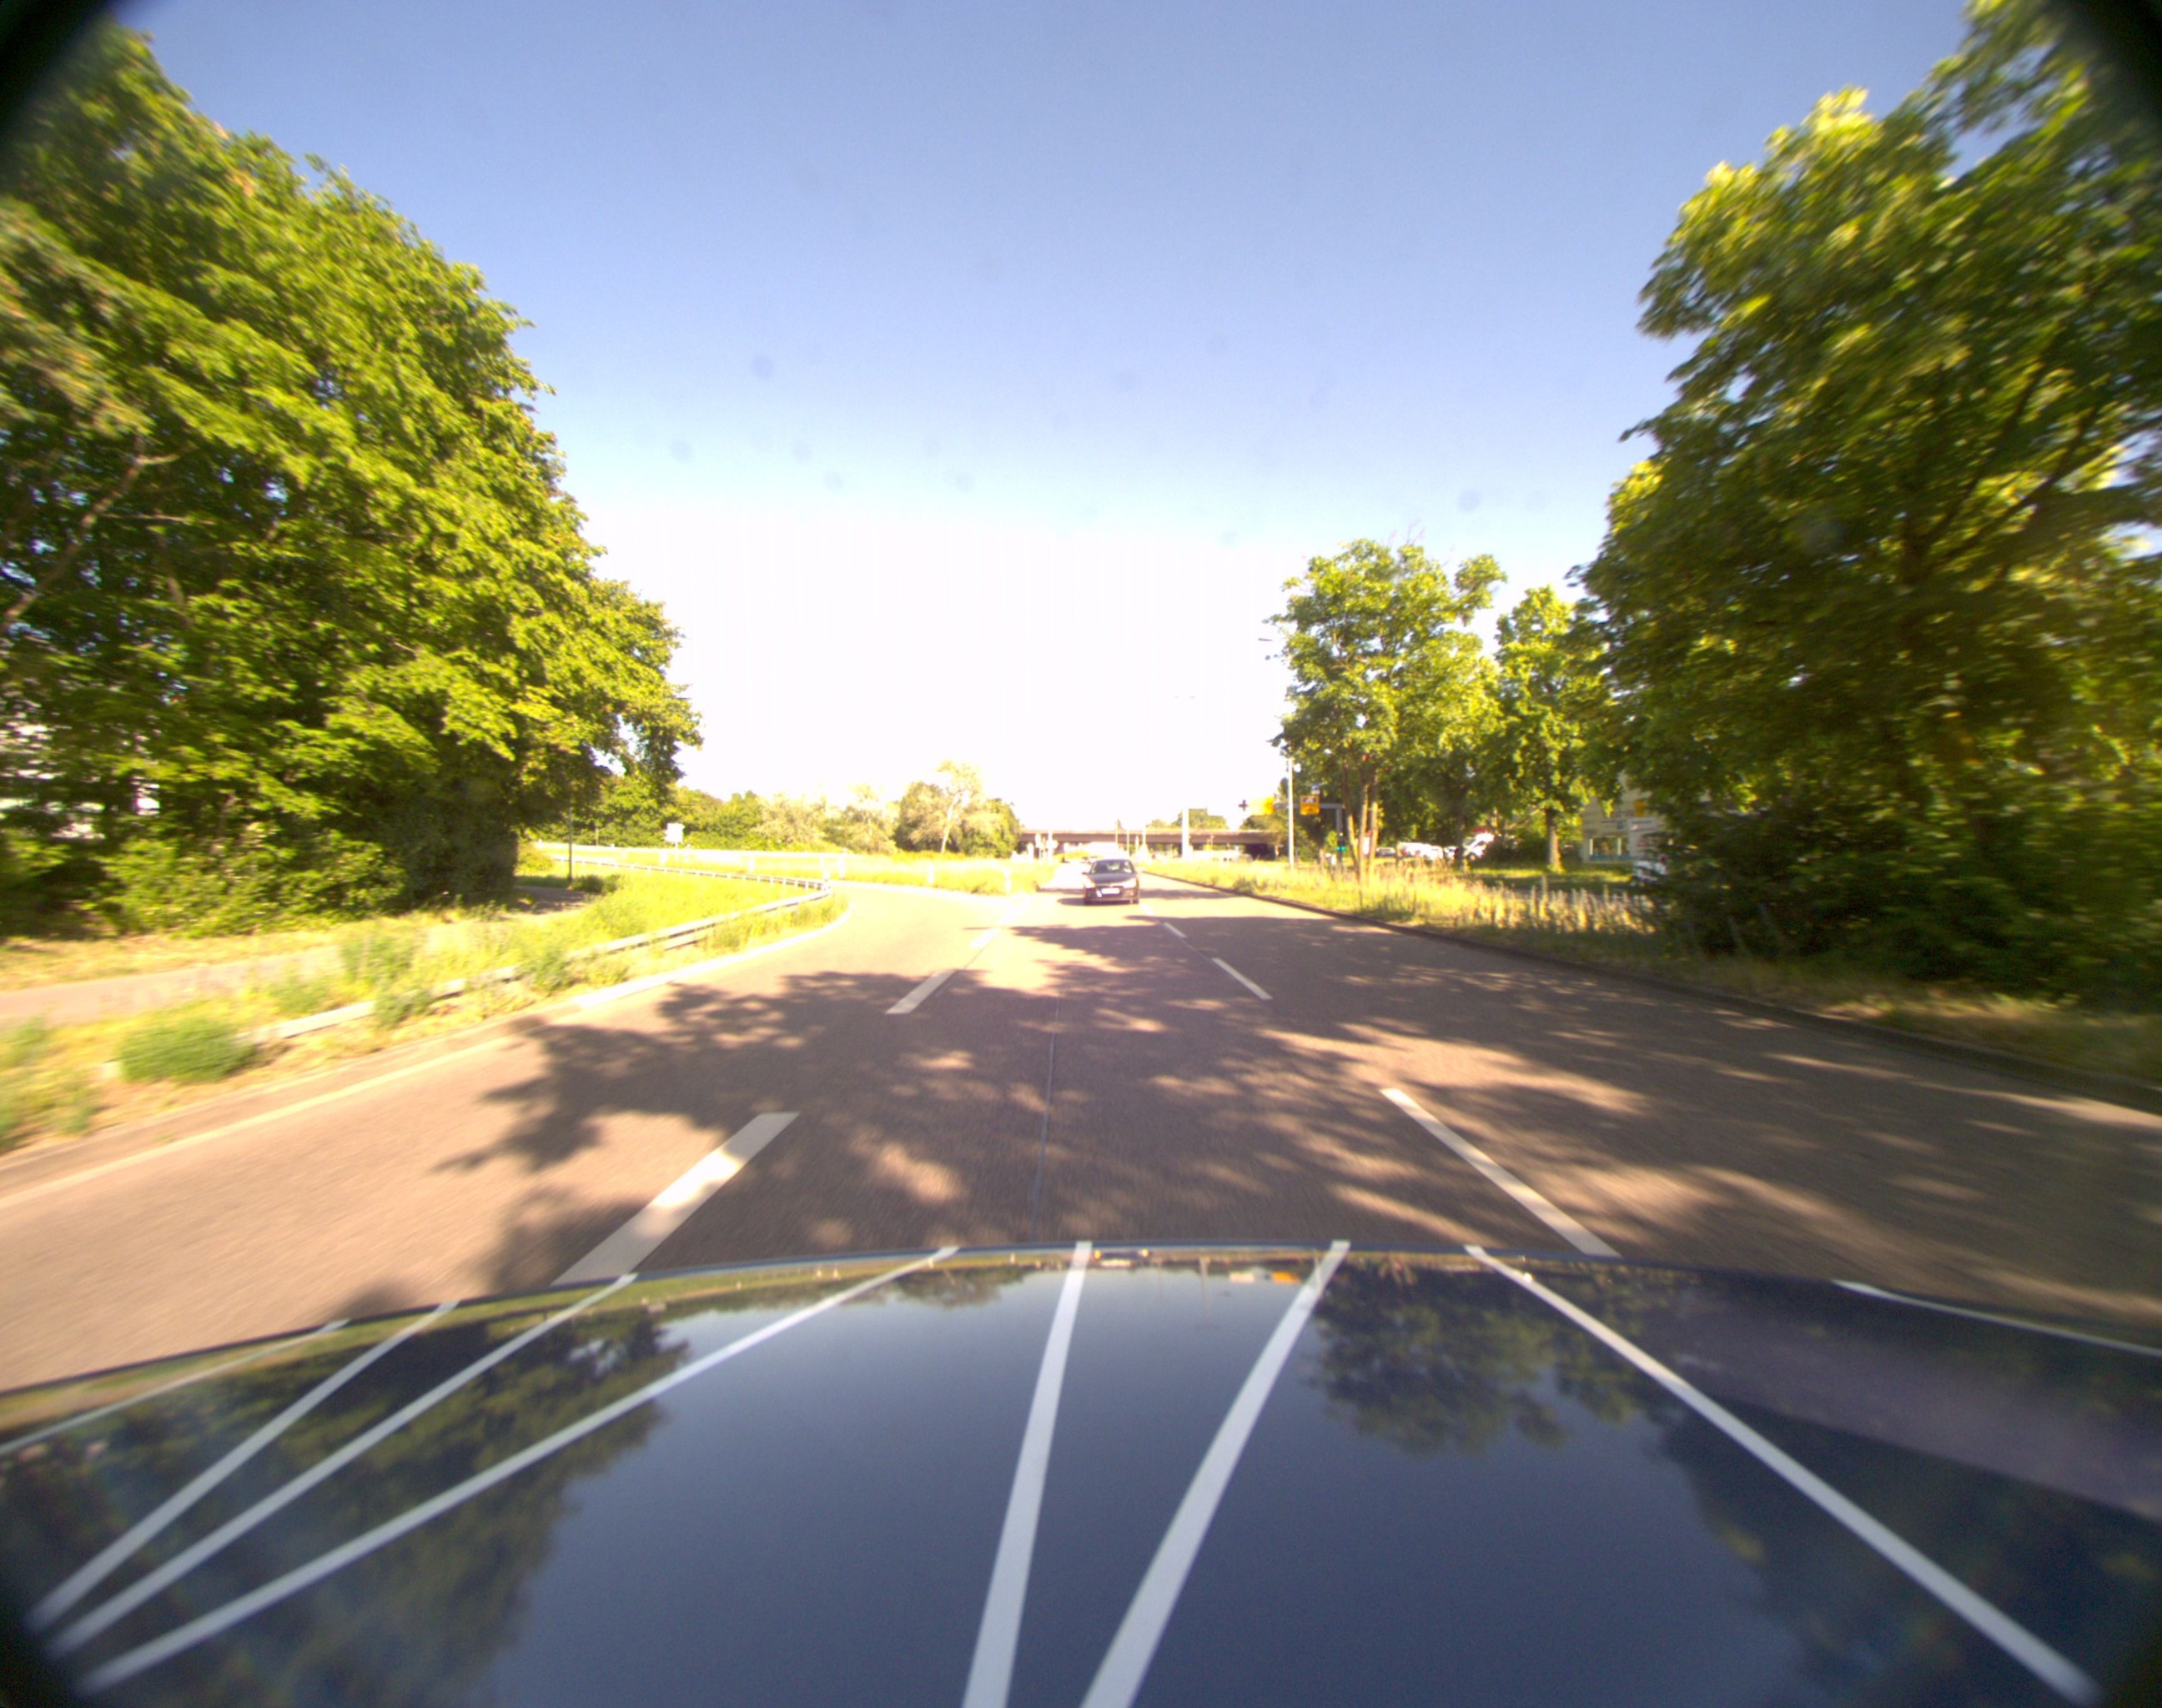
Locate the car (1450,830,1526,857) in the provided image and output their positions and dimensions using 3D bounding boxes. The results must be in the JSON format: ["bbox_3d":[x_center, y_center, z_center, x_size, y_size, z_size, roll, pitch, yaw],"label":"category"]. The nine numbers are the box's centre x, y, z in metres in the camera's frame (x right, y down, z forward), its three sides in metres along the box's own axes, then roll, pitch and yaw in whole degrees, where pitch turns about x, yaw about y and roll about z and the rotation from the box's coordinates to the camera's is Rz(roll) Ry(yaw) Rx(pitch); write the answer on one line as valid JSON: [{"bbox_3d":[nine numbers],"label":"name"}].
[{"bbox_3d":[37.523,-0.961,70.147,5.894,2.419,2.206,0,0,-4],"label":"car"}]

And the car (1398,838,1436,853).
[{"bbox_3d":[49.702,-1.215,112.478,1.899,2.139,5.034,0,0,-32],"label":"car"}]

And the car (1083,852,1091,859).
[{"bbox_3d":[1.355,0.403,165.737,1.627,1.428,3.279,-1,0,3],"label":"car"}]

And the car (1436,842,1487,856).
[{"bbox_3d":[37.698,-0.500,75.361,4.130,1.380,1.946,0,0,-4],"label":"car"}]

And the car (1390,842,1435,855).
[{"bbox_3d":[37.191,-0.634,85.281,4.129,1.380,1.946,0,0,-1],"label":"car"}]

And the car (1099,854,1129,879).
[{"bbox_3d":[2.143,0.801,50.428,1.827,1.528,4.041,-1,0,0],"label":"car"}]

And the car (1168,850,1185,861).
[{"bbox_3d":[15.005,0.240,119.690,1.947,1.687,4.629,1,0,0],"label":"car"}]

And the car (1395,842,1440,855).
[{"bbox_3d":[36.726,-0.590,82.982,4.130,1.380,1.946,0,0,-4],"label":"car"}]

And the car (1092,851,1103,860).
[{"bbox_3d":[2.904,0.324,133.651,1.827,1.528,4.042,-1,0,0],"label":"car"}]

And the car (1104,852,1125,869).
[{"bbox_3d":[3.213,0.587,73.546,1.827,1.528,4.041,-1,0,0],"label":"car"}]

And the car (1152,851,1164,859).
[{"bbox_3d":[15.606,0.209,154.473,1.881,1.534,4.572,1,0,0],"label":"car"}]

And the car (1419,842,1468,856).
[{"bbox_3d":[37.181,-0.523,77.911,4.130,1.380,1.946,0,0,-4],"label":"car"}]

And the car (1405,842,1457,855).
[{"bbox_3d":[37.182,-0.576,80.696,4.631,1.380,1.946,0,0,0],"label":"car"}]

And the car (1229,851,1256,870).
[{"bbox_3d":[15.754,0.601,74.225,1.711,1.736,4.165,-1,0,-1],"label":"car"}]

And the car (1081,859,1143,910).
[{"bbox_3d":[1.090,0.915,24.701,1.706,1.447,3.961,-1,0,6],"label":"car"}]

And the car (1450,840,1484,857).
[{"bbox_3d":[46.445,-0.681,91.505,1.783,1.945,5.131,0,0,3],"label":"car"}]
